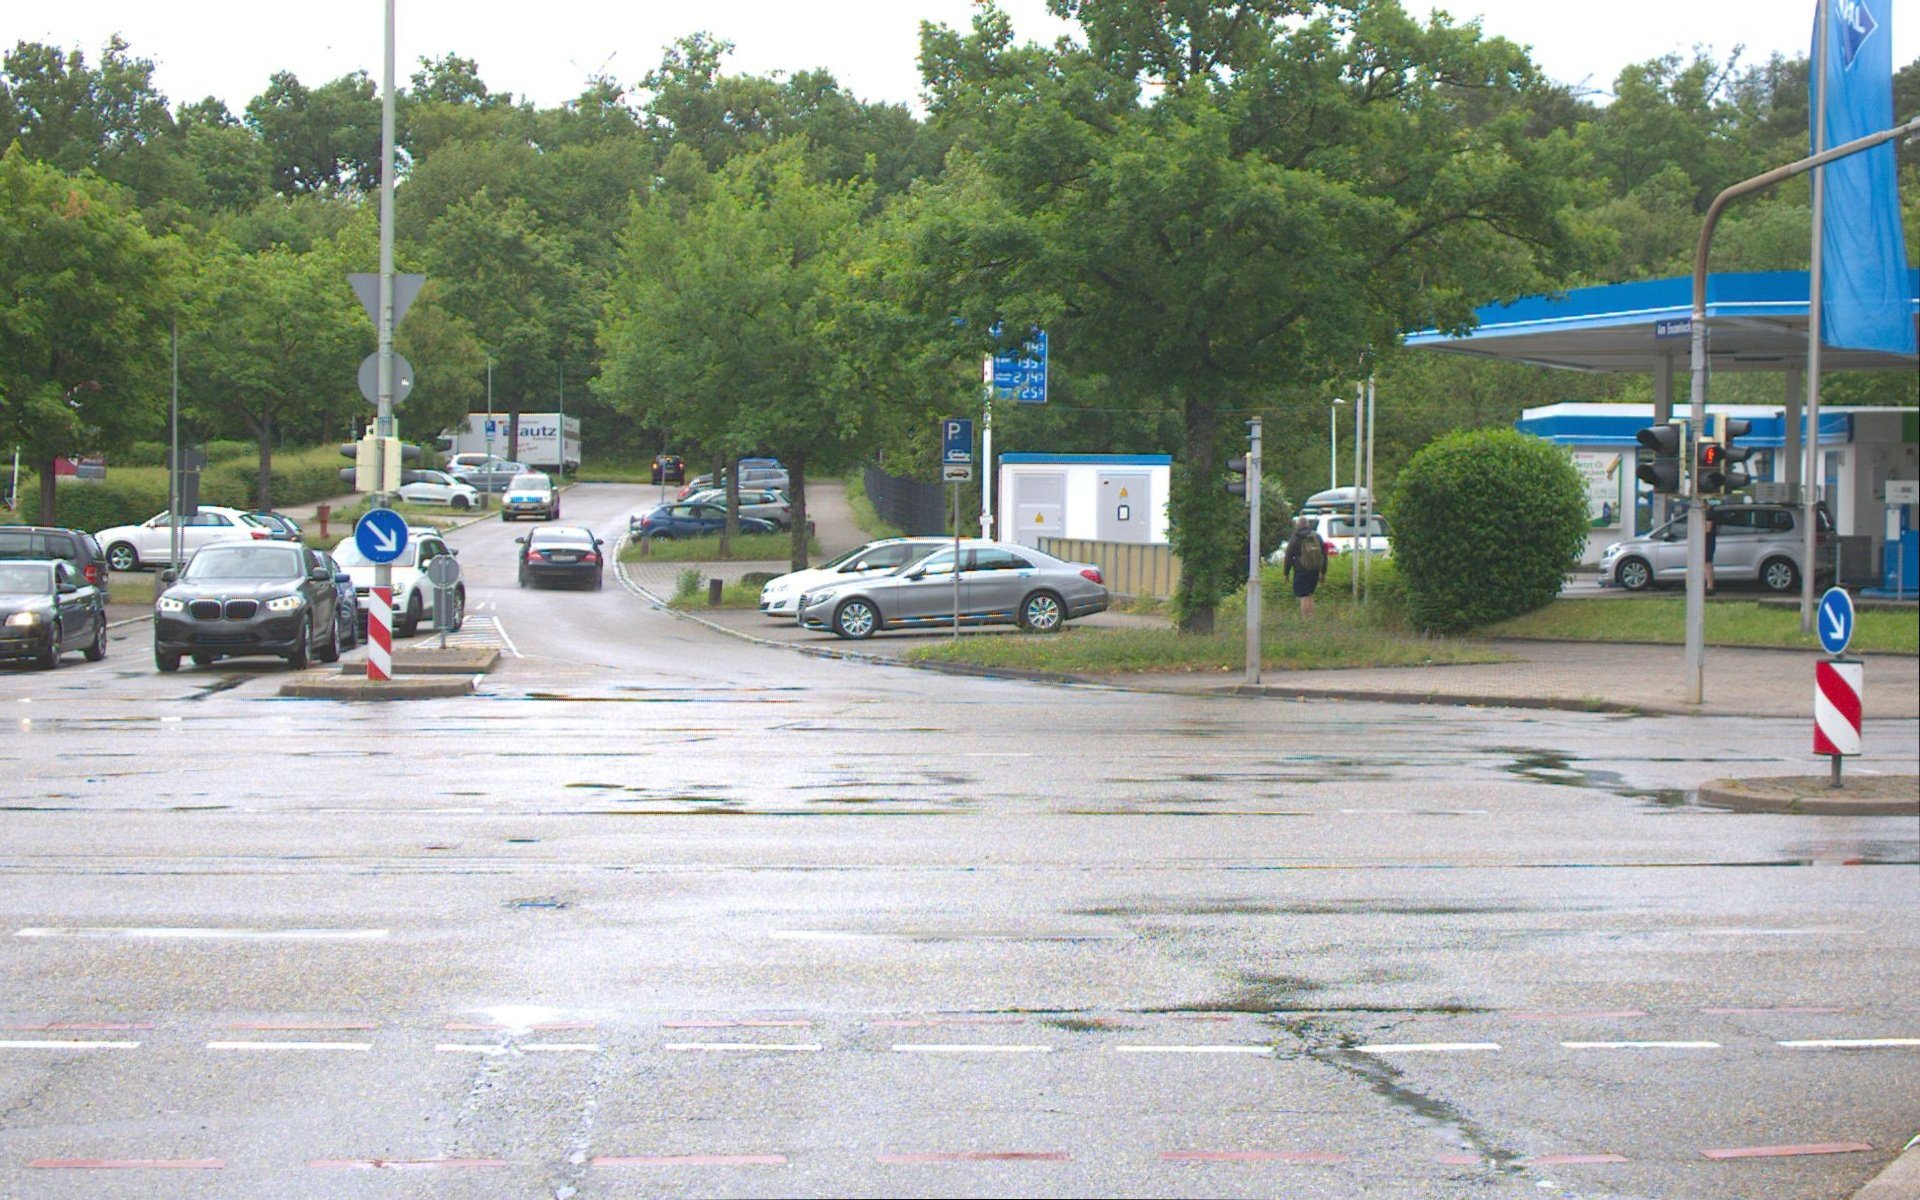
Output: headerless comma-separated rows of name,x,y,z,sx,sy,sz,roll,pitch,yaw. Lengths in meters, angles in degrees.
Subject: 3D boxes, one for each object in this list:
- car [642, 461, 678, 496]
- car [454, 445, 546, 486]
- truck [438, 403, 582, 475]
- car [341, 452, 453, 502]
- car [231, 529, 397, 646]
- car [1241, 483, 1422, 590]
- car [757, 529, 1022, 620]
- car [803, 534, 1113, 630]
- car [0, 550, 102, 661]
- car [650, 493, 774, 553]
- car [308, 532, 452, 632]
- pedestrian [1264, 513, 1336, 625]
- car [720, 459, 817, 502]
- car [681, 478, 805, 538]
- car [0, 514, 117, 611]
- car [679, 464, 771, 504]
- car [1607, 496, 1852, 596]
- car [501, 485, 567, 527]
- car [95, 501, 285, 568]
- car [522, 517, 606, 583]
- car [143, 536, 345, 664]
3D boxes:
car,-15.628,-6.317,179.134,1.804,1.733,4.001,0,1,-5
car,-20.930,-6.122,156.542,3.986,1.788,1.856,0,0,-2
truck,-24.772,-8.846,189.404,7.370,3.847,2.777,0,1,11
car,-20.610,-4.511,125.964,3.986,1.788,1.857,0,0,-7
car,-9.422,-0.189,50.458,1.795,1.627,4.552,0,0,-3
car,6.483,-1.102,60.332,1.808,1.791,3.701,1,1,-17
car,-1.292,-0.457,61.761,4.571,1.583,1.930,0,1,-7
car,-0.061,-0.295,56.479,4.885,1.543,2.000,0,1,-7
car,-12.574,0.042,45.283,1.782,1.399,4.001,0,1,-4
car,-7.071,-2.188,97.773,3.459,1.649,1.616,1,0,-5
car,-9.352,-0.300,55.689,1.895,1.548,4.001,0,1,-4
pedestrian,5.088,-0.469,51.459,0.808,1.656,0.887,0,0,-14
car,-8.052,-5.008,144.299,3.986,1.733,1.811,0,1,-6
car,-6.588,-2.772,104.298,3.697,1.744,1.697,1,0,-5
car,-17.182,-0.675,62.015,3.648,1.718,1.685,0,1,-7
car,-10.399,-5.107,151.727,3.986,1.733,1.811,0,1,-6
car,14.530,-0.996,64.966,4.121,1.801,1.943,-1,0,29
car,-15.442,-3.393,124.737,1.697,1.451,3.672,0,0,4
car,-18.614,-1.580,83.203,4.271,1.604,1.685,0,1,-3
car,-9.052,-1.148,78.867,1.807,1.477,3.752,0,1,-5
car,-9.087,-0.026,43.989,1.895,1.548,4.593,0,1,-4
